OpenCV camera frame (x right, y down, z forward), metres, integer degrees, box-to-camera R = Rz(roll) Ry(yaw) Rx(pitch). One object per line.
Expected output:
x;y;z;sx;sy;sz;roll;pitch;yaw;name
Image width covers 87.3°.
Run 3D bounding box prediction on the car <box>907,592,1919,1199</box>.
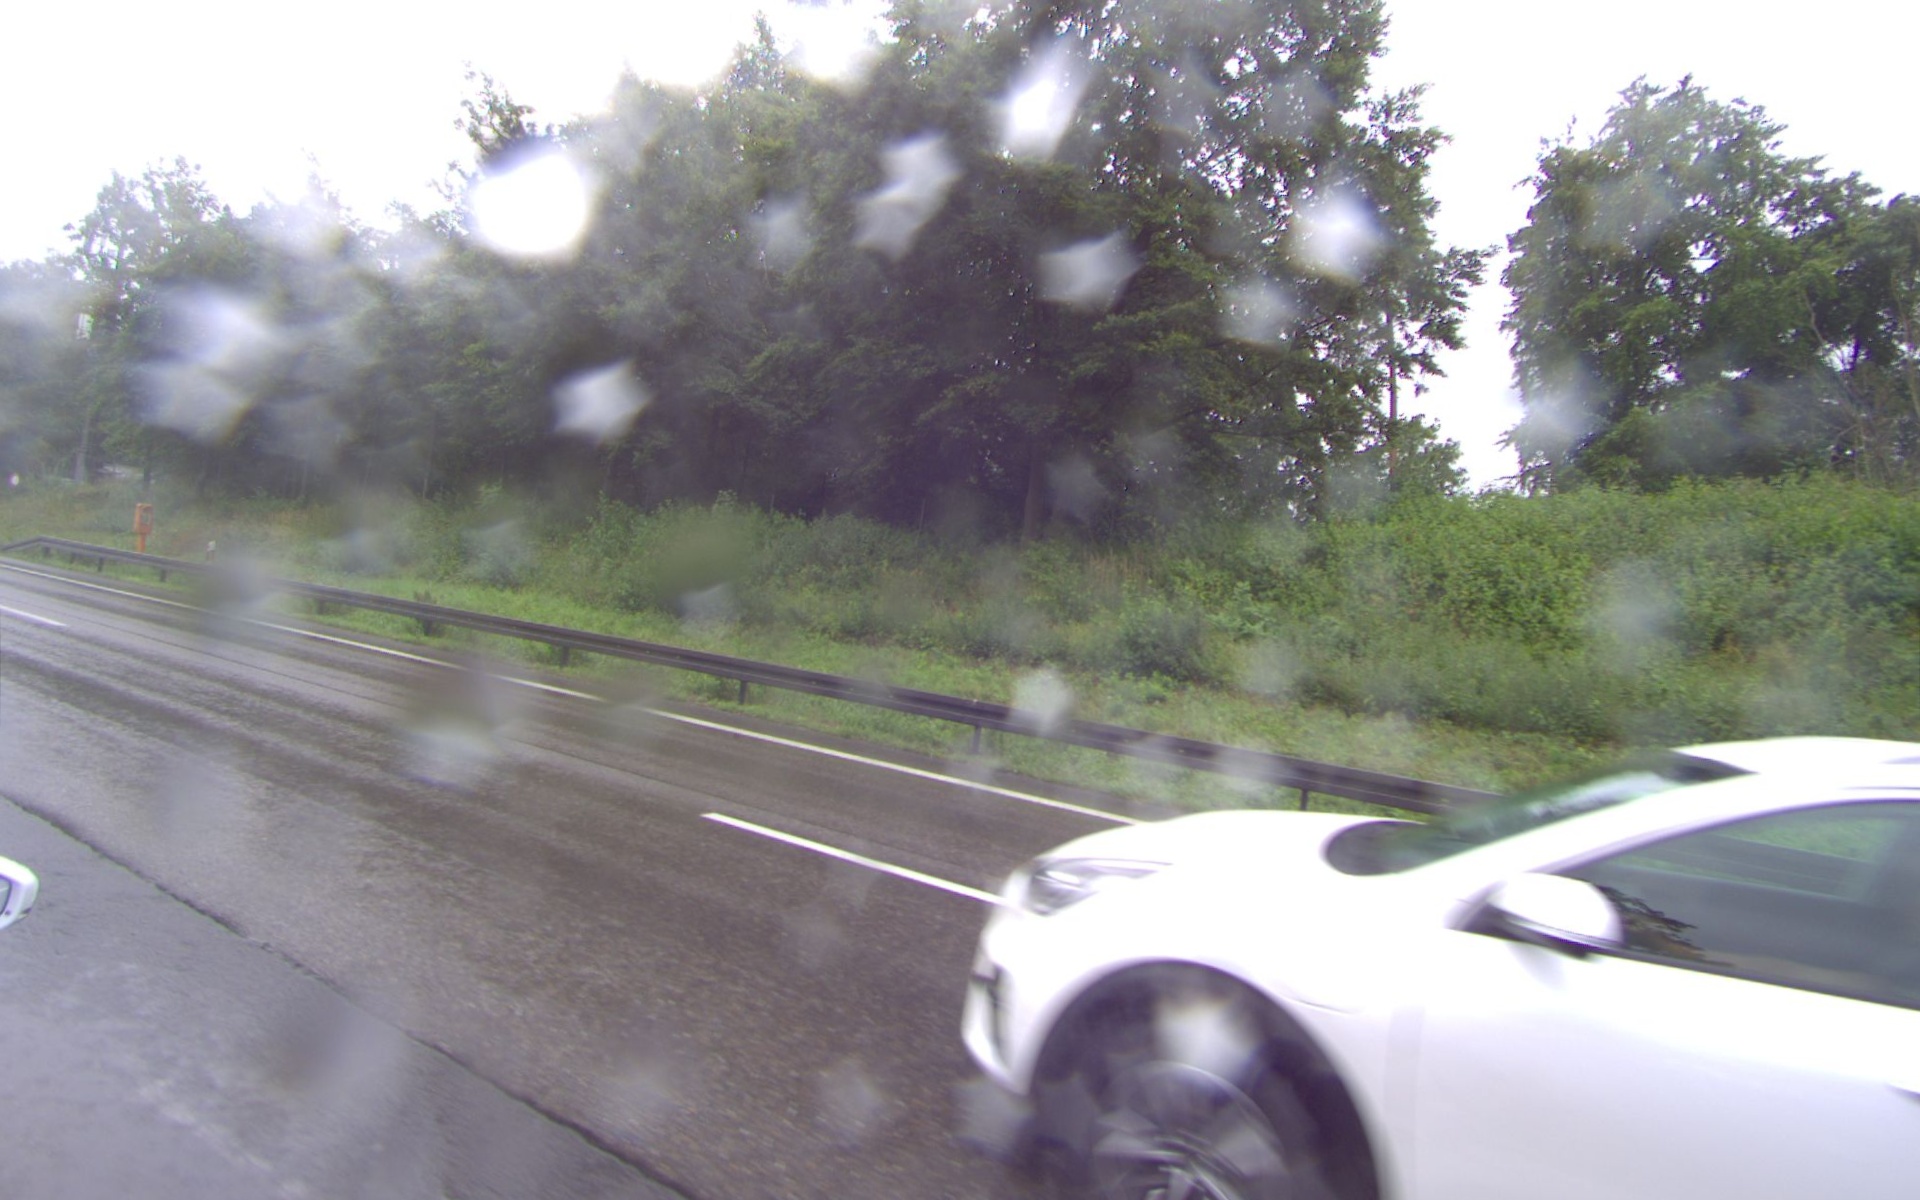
2.232;1.056;2.470;4.270;1.540;1.850;7;-2;31;car
